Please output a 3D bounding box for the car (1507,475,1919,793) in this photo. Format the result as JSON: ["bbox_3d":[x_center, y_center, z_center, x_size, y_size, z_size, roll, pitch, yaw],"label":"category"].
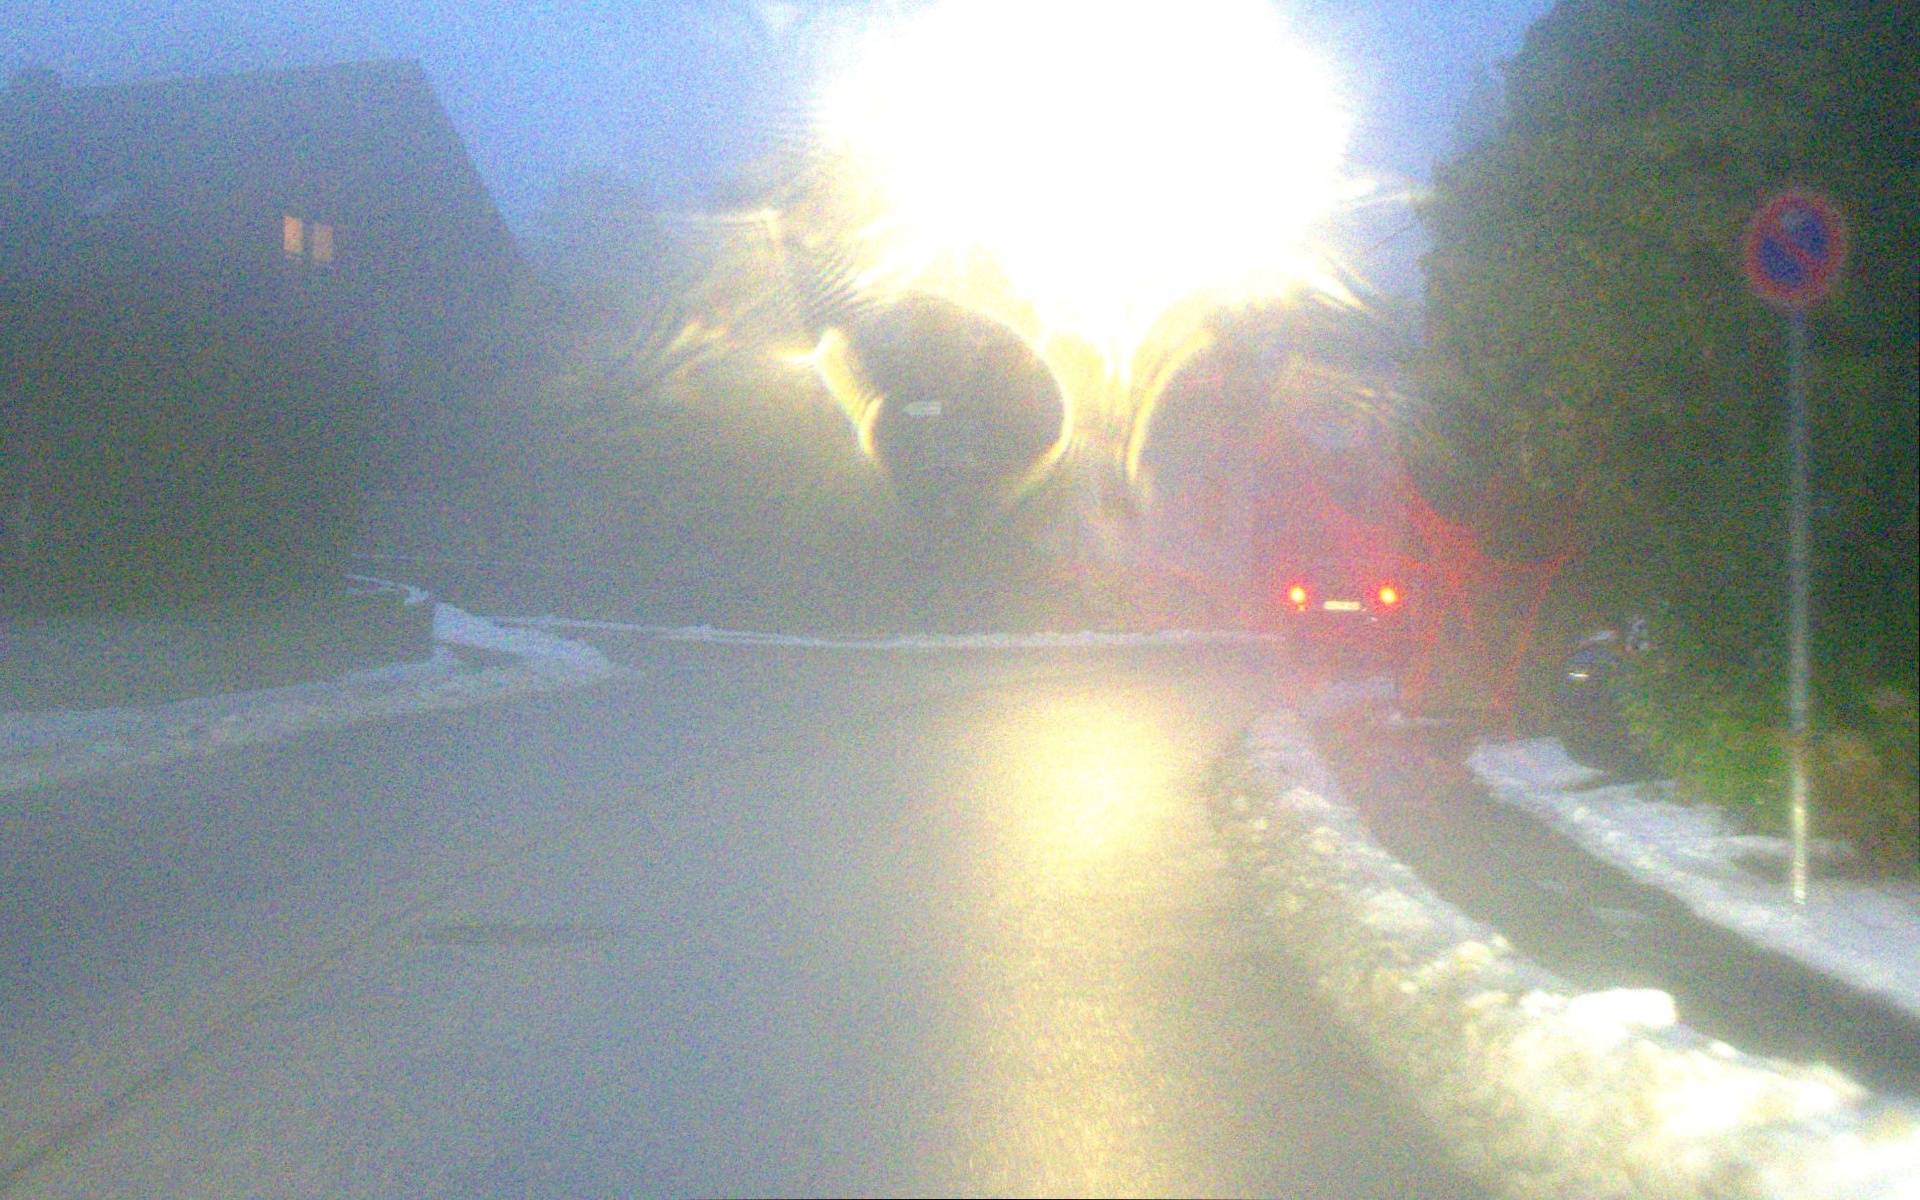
[{"bbox_3d":[5.332,0.164,19.893,3.987,1.684,1.844,-2,-1,1],"label":"car"}]

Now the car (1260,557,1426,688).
[{"bbox_3d":[5.585,0.371,49.799,1.994,1.731,3.876,-2,-2,12],"label":"car"}]
